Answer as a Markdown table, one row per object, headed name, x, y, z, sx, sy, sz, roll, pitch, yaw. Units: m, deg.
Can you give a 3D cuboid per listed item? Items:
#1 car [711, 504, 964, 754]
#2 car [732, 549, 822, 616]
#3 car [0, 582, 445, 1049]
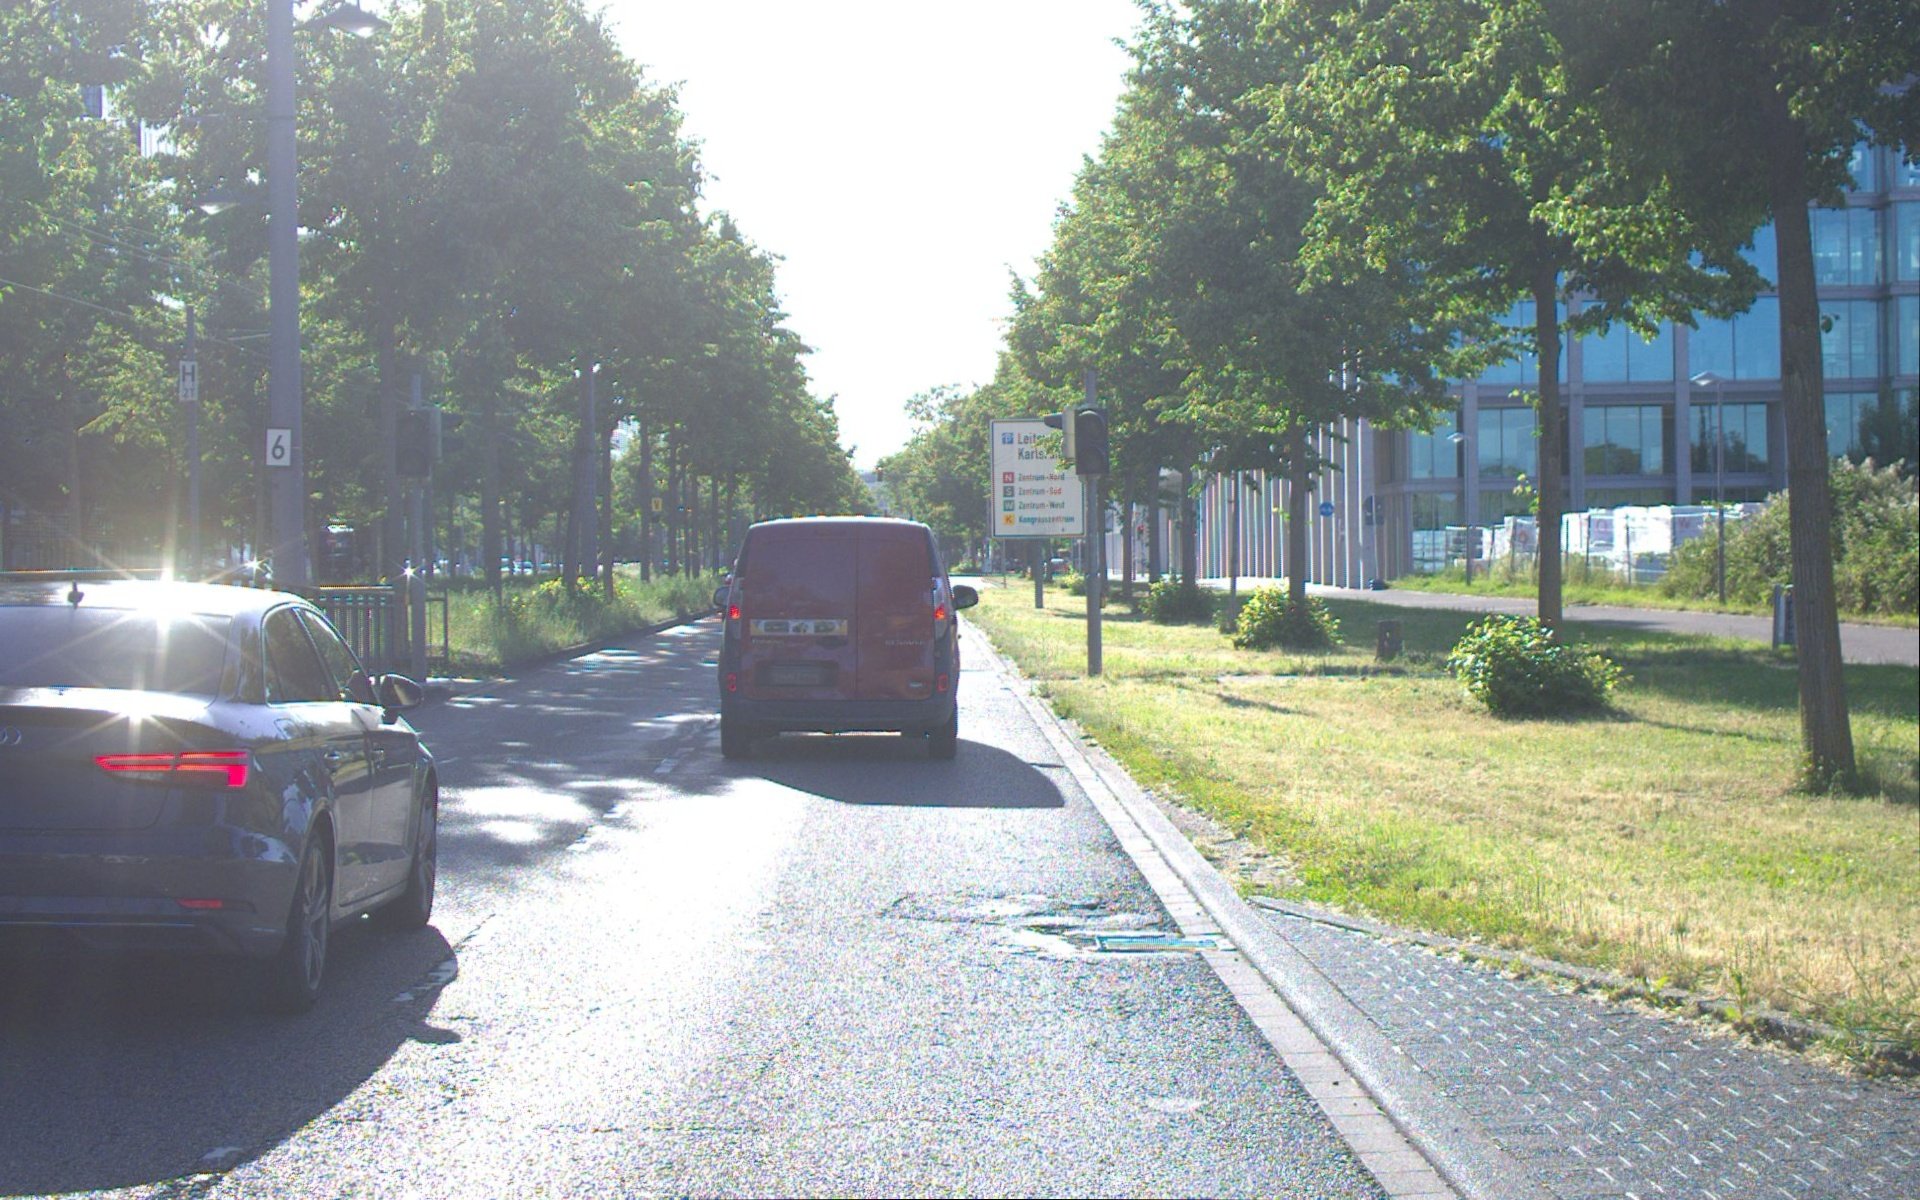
| name | x | y | z | sx | sy | sz | roll | pitch | yaw |
| --- | --- | --- | --- | --- | --- | --- | --- | --- | --- |
| car | -0.960 | 0.215 | 26.725 | 1.797 | 1.771 | 4.000 | 1 | 0 | -2 |
| car | -4.104 | -0.410 | 77.369 | 1.942 | 1.436 | 4.001 | -1 | 1 | -3 |
| car | -2.987 | 0.631 | 12.301 | 1.721 | 1.362 | 4.146 | 1 | 0 | -1 |
